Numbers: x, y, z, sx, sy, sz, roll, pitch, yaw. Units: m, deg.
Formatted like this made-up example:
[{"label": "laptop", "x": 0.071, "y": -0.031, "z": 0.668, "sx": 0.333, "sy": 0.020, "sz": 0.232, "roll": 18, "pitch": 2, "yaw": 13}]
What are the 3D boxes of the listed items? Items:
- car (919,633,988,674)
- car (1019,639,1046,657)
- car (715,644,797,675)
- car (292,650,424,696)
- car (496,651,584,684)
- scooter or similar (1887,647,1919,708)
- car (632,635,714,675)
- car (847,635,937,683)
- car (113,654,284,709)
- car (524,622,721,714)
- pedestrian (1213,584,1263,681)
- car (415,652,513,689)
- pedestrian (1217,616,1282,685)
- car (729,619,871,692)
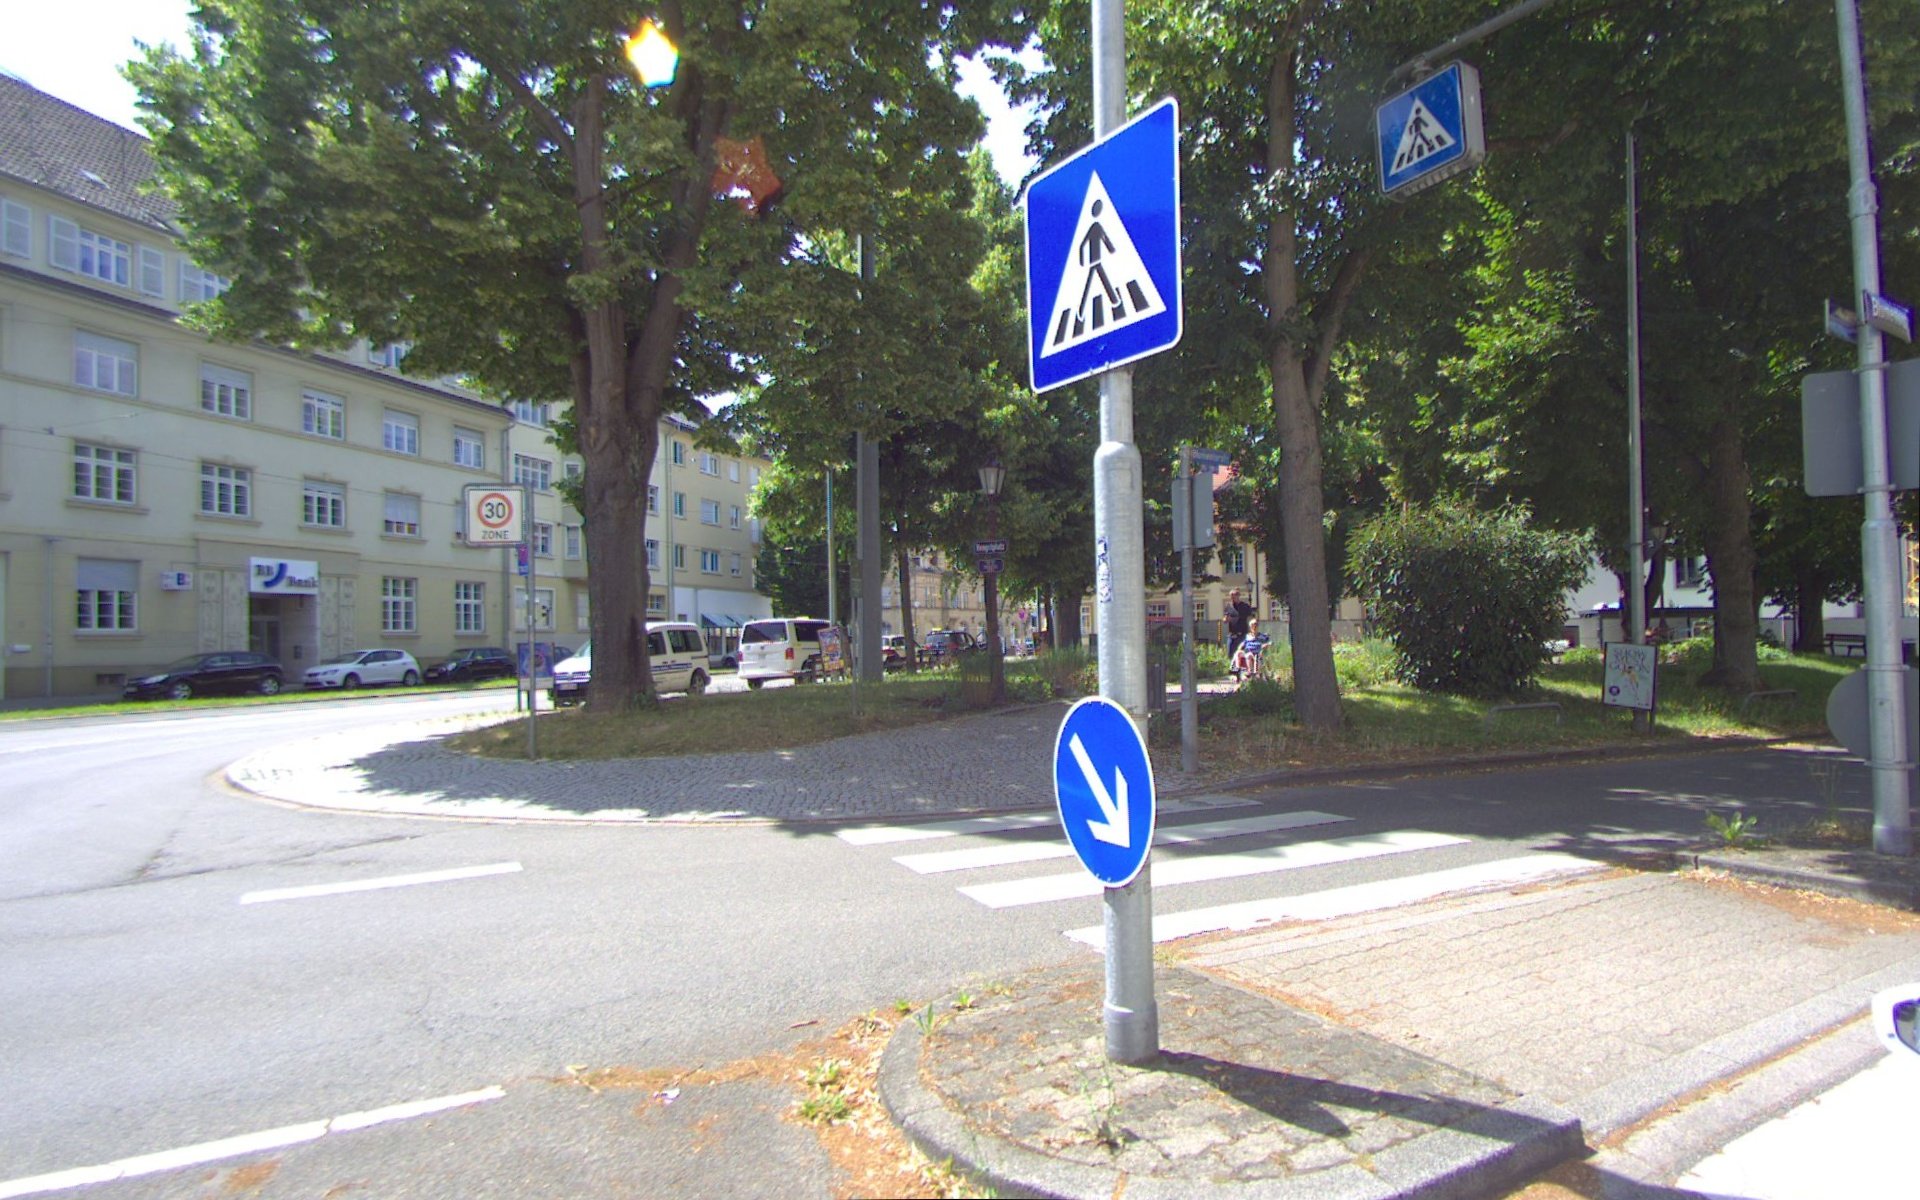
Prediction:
[{"label": "car", "x": -0.232, "y": 2.337, "z": 44.358, "sx": 1.754, "sy": 1.715, "sz": 4.201, "roll": -2, "pitch": -2, "yaw": 19}, {"label": "car", "x": 6.312, "y": 4.132, "z": 87.295, "sx": 1.829, "sy": 1.505, "sz": 4.003, "roll": -2, "pitch": -2, "yaw": 11}, {"label": "car", "x": -11.874, "y": 3.447, "z": 58.517, "sx": 4.132, "sy": 1.524, "sz": 2.005, "roll": -4, "pitch": -3, "yaw": 14}, {"label": "car", "x": -21.155, "y": 2.535, "z": 35.463, "sx": 1.658, "sy": 1.408, "sz": 3.859, "roll": -4, "pitch": -3, "yaw": 18}, {"label": "car", "x": -18.488, "y": 2.959, "z": 44.377, "sx": 1.576, "sy": 1.294, "sz": 3.588, "roll": -4, "pitch": -3, "yaw": 18}, {"label": "scooter or similar", "x": 17.839, "y": 1.447, "z": 18.104, "sx": 1.436, "sy": 1.005, "sz": 1.265, "roll": 1, "pitch": 6, "yaw": -32}, {"label": "car", "x": -15.298, "y": 2.895, "z": 53.810, "sx": 1.823, "sy": 1.936, "sz": 4.773, "roll": -4, "pitch": -3, "yaw": 18}, {"label": "car", "x": -2.463, "y": 2.160, "z": 37.647, "sx": 1.754, "sy": 1.645, "sz": 4.486, "roll": -2, "pitch": -2, "yaw": 19}, {"label": "car", "x": -22.871, "y": 2.420, "z": 30.354, "sx": 1.658, "sy": 1.377, "sz": 3.859, "roll": -4, "pitch": -3, "yaw": 18}, {"label": "car", "x": -7.406, "y": 1.464, "z": 22.564, "sx": 1.960, "sy": 1.850, "sz": 4.424, "roll": -2, "pitch": -2, "yaw": 17}, {"label": "pedestrian", "x": 5.666, "y": 0.652, "z": 20.460, "sx": 0.737, "sy": 1.936, "sz": 0.682, "roll": -2, "pitch": -1, "yaw": 33}, {"label": "car", "x": -19.781, "y": 2.799, "z": 40.199, "sx": 1.658, "sy": 1.294, "sz": 3.290, "roll": -4, "pitch": -3, "yaw": 18}, {"label": "pedestrian", "x": 5.643, "y": 0.963, "z": 19.540, "sx": 0.893, "sy": 1.268, "sz": 1.145, "roll": -2, "pitch": -1, "yaw": 33}, {"label": "car", "x": -4.739, "y": 1.646, "z": 30.709, "sx": 2.015, "sy": 2.029, "sz": 5.250, "roll": -2, "pitch": -2, "yaw": 19}]
